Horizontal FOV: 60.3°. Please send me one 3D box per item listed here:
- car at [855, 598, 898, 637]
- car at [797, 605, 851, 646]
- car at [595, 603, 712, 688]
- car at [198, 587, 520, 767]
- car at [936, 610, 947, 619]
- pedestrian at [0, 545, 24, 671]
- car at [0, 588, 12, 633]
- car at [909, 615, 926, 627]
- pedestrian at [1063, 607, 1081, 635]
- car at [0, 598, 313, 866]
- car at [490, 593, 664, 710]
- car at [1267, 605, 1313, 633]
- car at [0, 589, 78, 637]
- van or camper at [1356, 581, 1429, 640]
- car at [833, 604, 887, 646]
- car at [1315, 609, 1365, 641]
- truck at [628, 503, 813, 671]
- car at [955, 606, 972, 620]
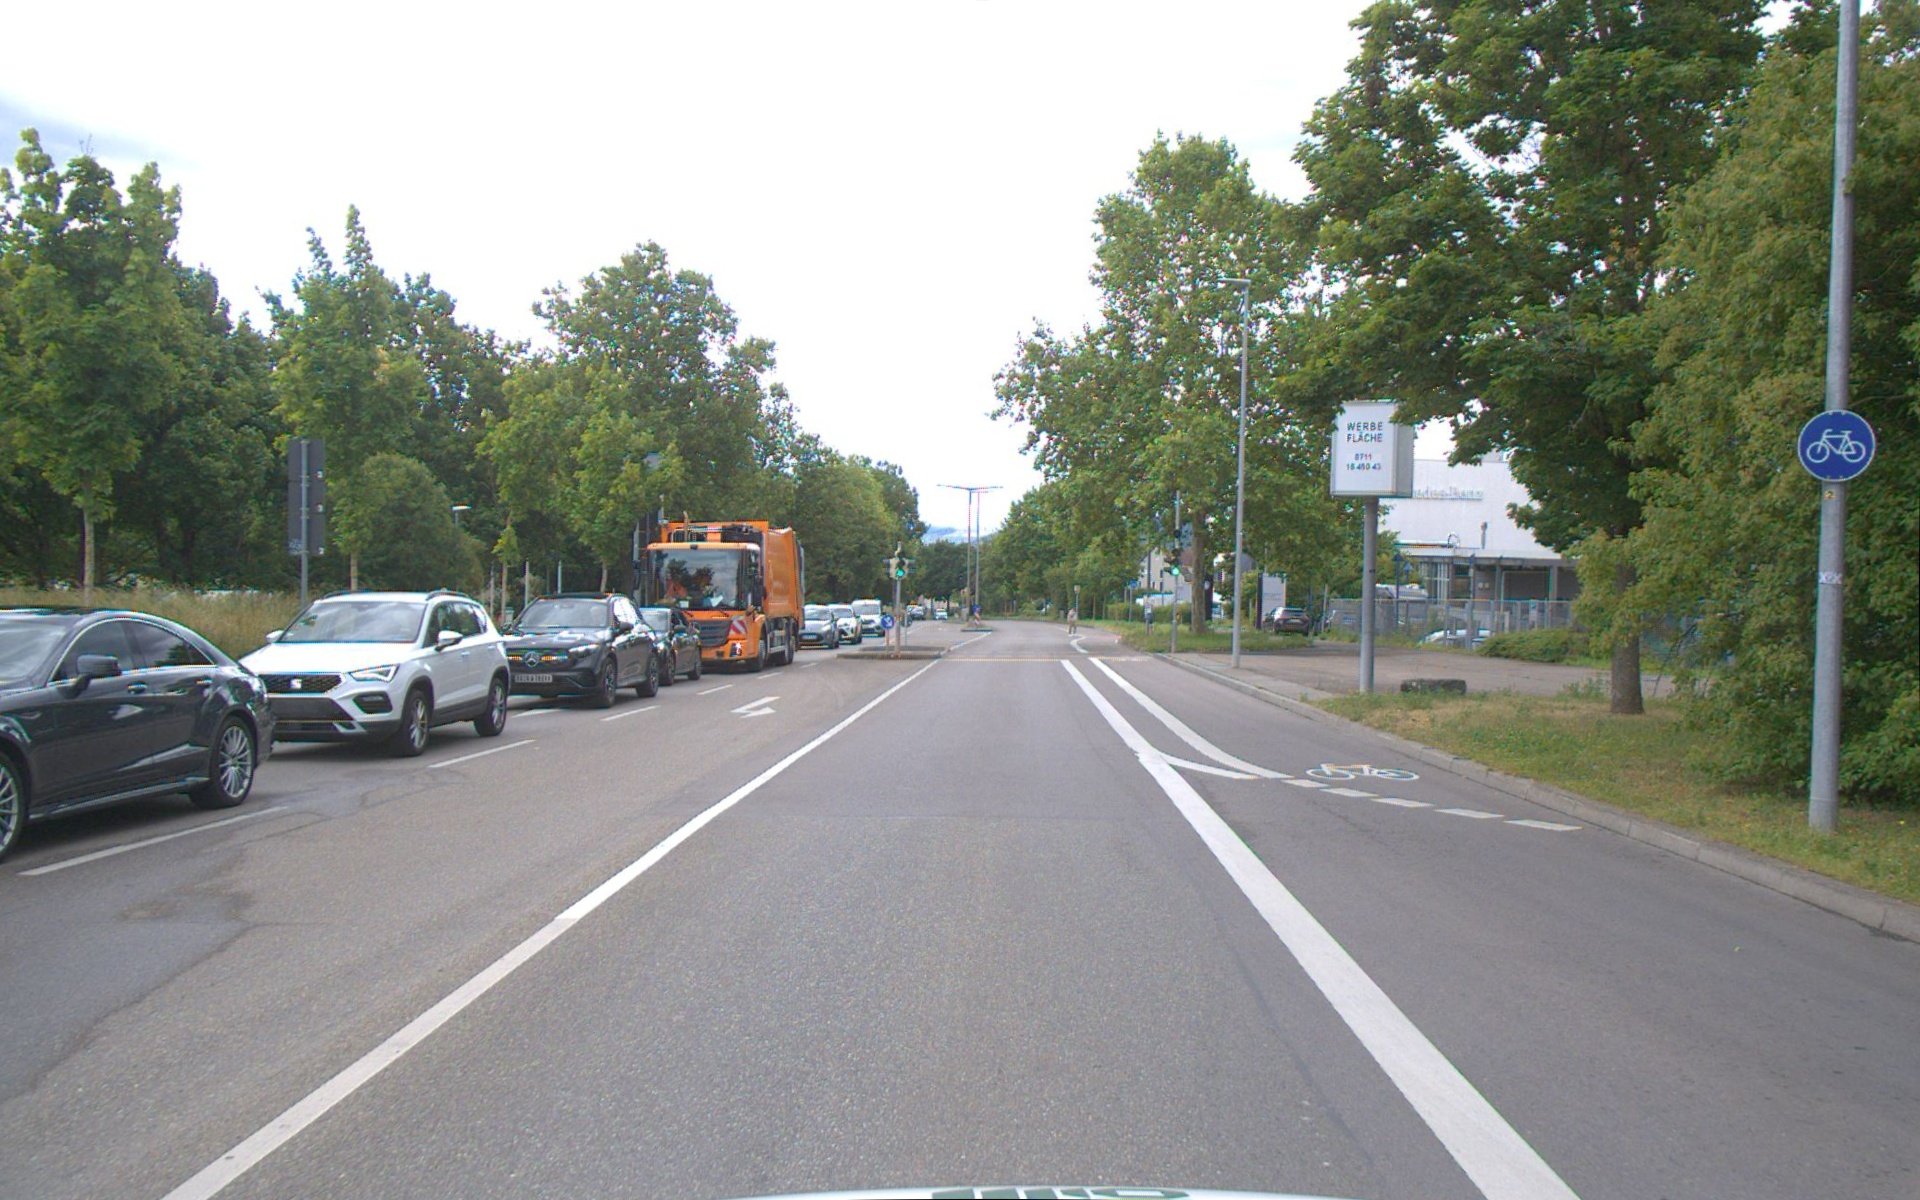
[{"bbox_3d":[-4.084,0.828,81.799,1.808,1.835,4.650,-1,0,0],"label":"car"},{"bbox_3d":[-4.738,0.869,57.927,1.515,1.354,3.654,-1,0,1],"label":"car"},{"bbox_3d":[-5.813,0.818,31.729,1.404,1.483,3.895,1,0,1],"label":"car"},{"bbox_3d":[-6.041,0.697,17.186,1.694,1.613,4.224,1,0,1],"label":"car"},{"bbox_3d":[-2.723,2.114,245.020,1.578,1.327,4.000,1,0,1],"label":"car"},{"bbox_3d":[-14.538,0.118,24.689,0.706,1.868,0.678,1,0,2],"label":"pedestrian"},{"bbox_3d":[-45.952,0.458,74.905,4.865,2.049,2.000,0,0,-1],"label":"car"},{"bbox_3d":[-4.943,2.471,191.957,1.735,1.327,4.000,1,0,1],"label":"car"},{"bbox_3d":[6.000,1.123,88.720,0.776,1.489,0.745,1,0,-17],"label":"pedestrian"},{"bbox_3d":[-5.954,0.715,10.582,1.605,1.415,4.886,1,0,1],"label":"car"},{"bbox_3d":[-5.724,0.713,25.173,1.605,1.613,4.061,1,0,1],"label":"car"},{"bbox_3d":[17.001,0.965,85.424,1.675,1.378,4.345,0,0,2],"label":"car"},{"bbox_3d":[-44.454,0.595,77.766,4.867,2.229,1.999,0,0,-3],"label":"car"},{"bbox_3d":[22.343,0.554,85.728,1.925,2.919,6.918,0,0,0],"label":"van or camper"},{"bbox_3d":[-3.963,0.967,66.016,1.808,1.547,4.815,-1,0,0],"label":"car"},{"bbox_3d":[19.600,1.257,85.446,1.675,1.534,4.345,3,0,2],"label":"car"},{"bbox_3d":[-5.550,-0.290,40.199,2.649,3.548,9.997,1,0,2],"label":"truck"},{"bbox_3d":[0.356,1.229,162.515,1.578,1.327,4.000,1,0,1],"label":"car"}]
